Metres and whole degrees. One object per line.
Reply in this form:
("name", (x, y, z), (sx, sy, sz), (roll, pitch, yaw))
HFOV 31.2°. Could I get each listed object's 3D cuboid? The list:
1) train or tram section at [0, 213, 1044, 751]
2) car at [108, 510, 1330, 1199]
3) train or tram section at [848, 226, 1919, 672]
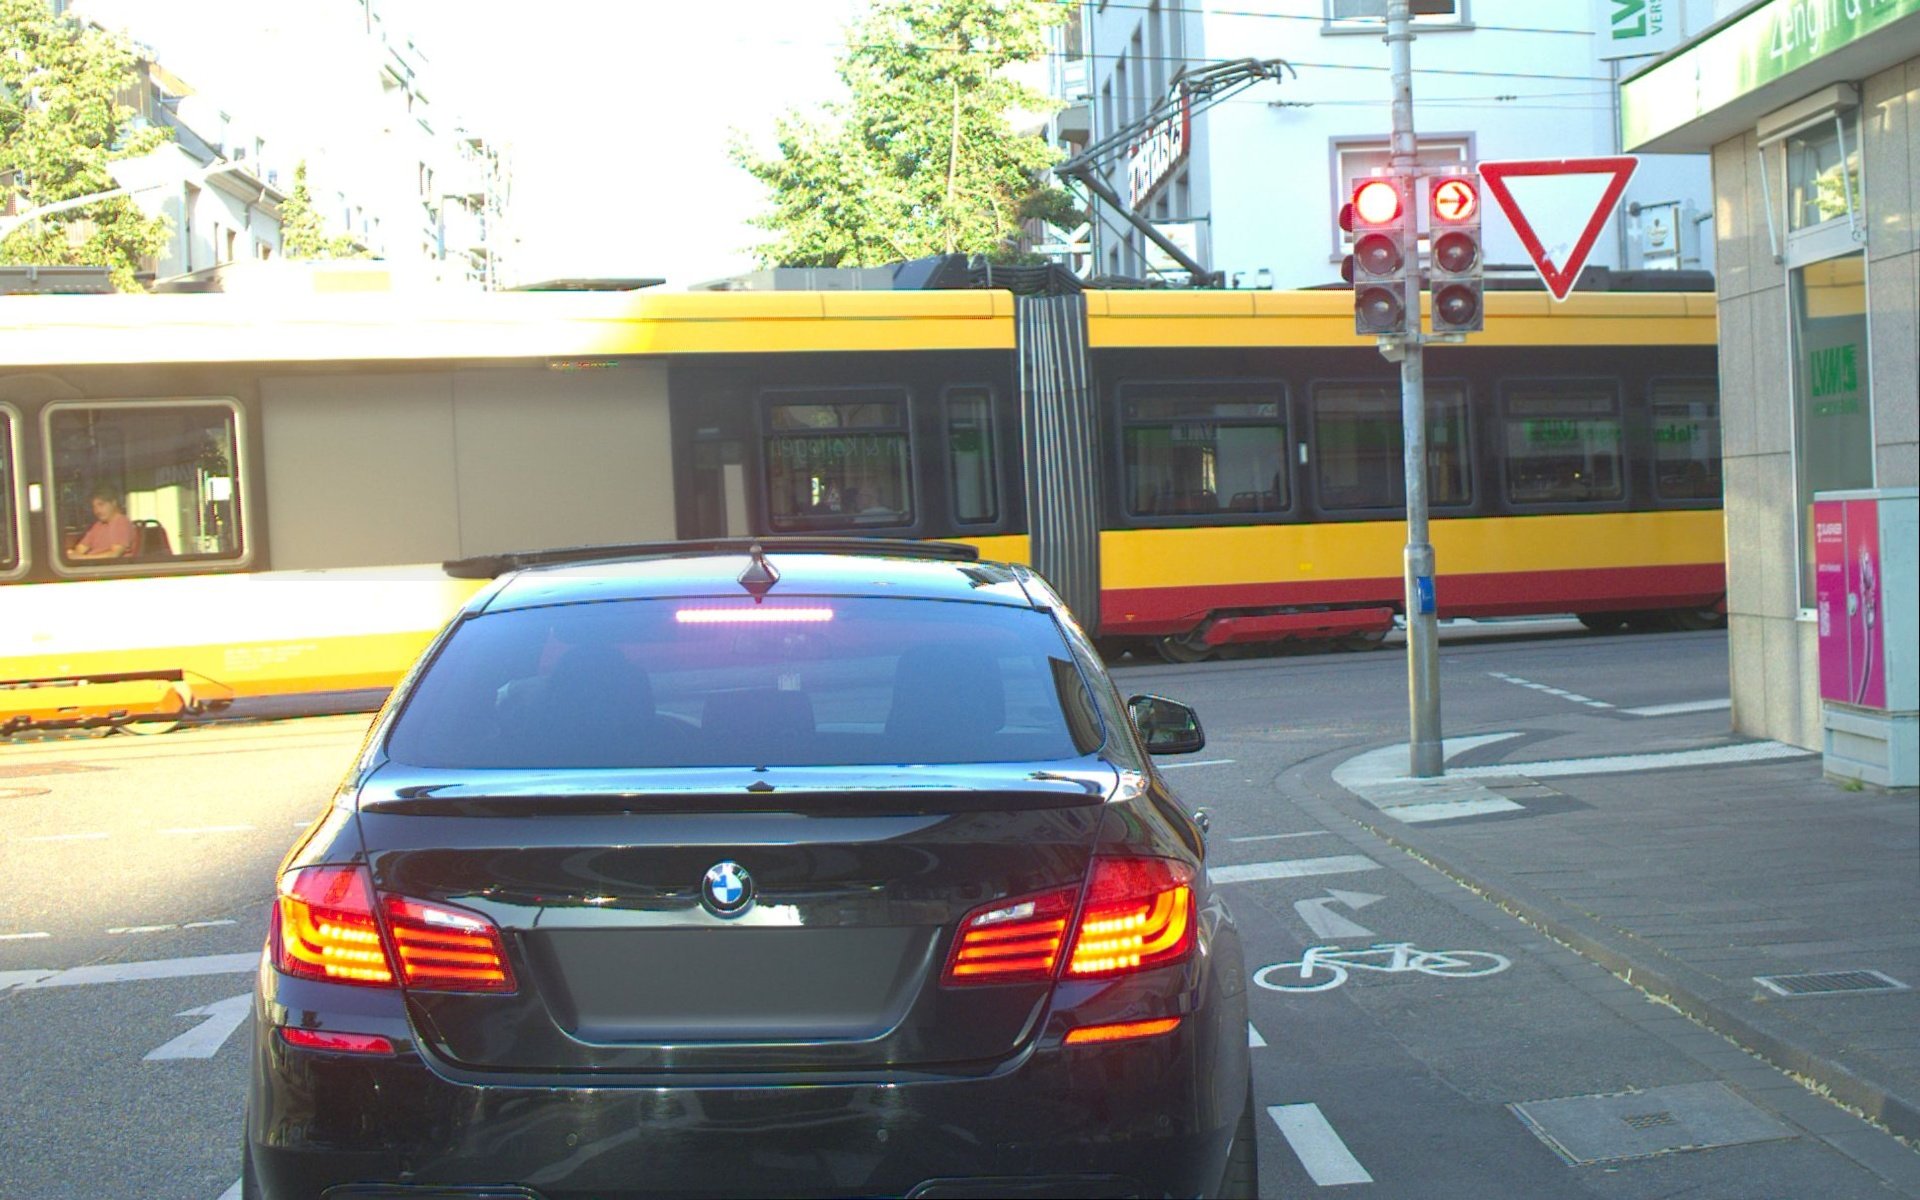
("train or tram section", (-5.533, -0.976, 27.305), (12.616, 3.852, 3.081), (-3, 2, -32))
("car", (-0.481, 0.587, 7.651), (1.903, 1.535, 4.450), (-1, 2, -3))
("train or tram section", (4.319, -1.551, 33.210), (10.424, 3.798, 3.082), (-3, 2, -30))
